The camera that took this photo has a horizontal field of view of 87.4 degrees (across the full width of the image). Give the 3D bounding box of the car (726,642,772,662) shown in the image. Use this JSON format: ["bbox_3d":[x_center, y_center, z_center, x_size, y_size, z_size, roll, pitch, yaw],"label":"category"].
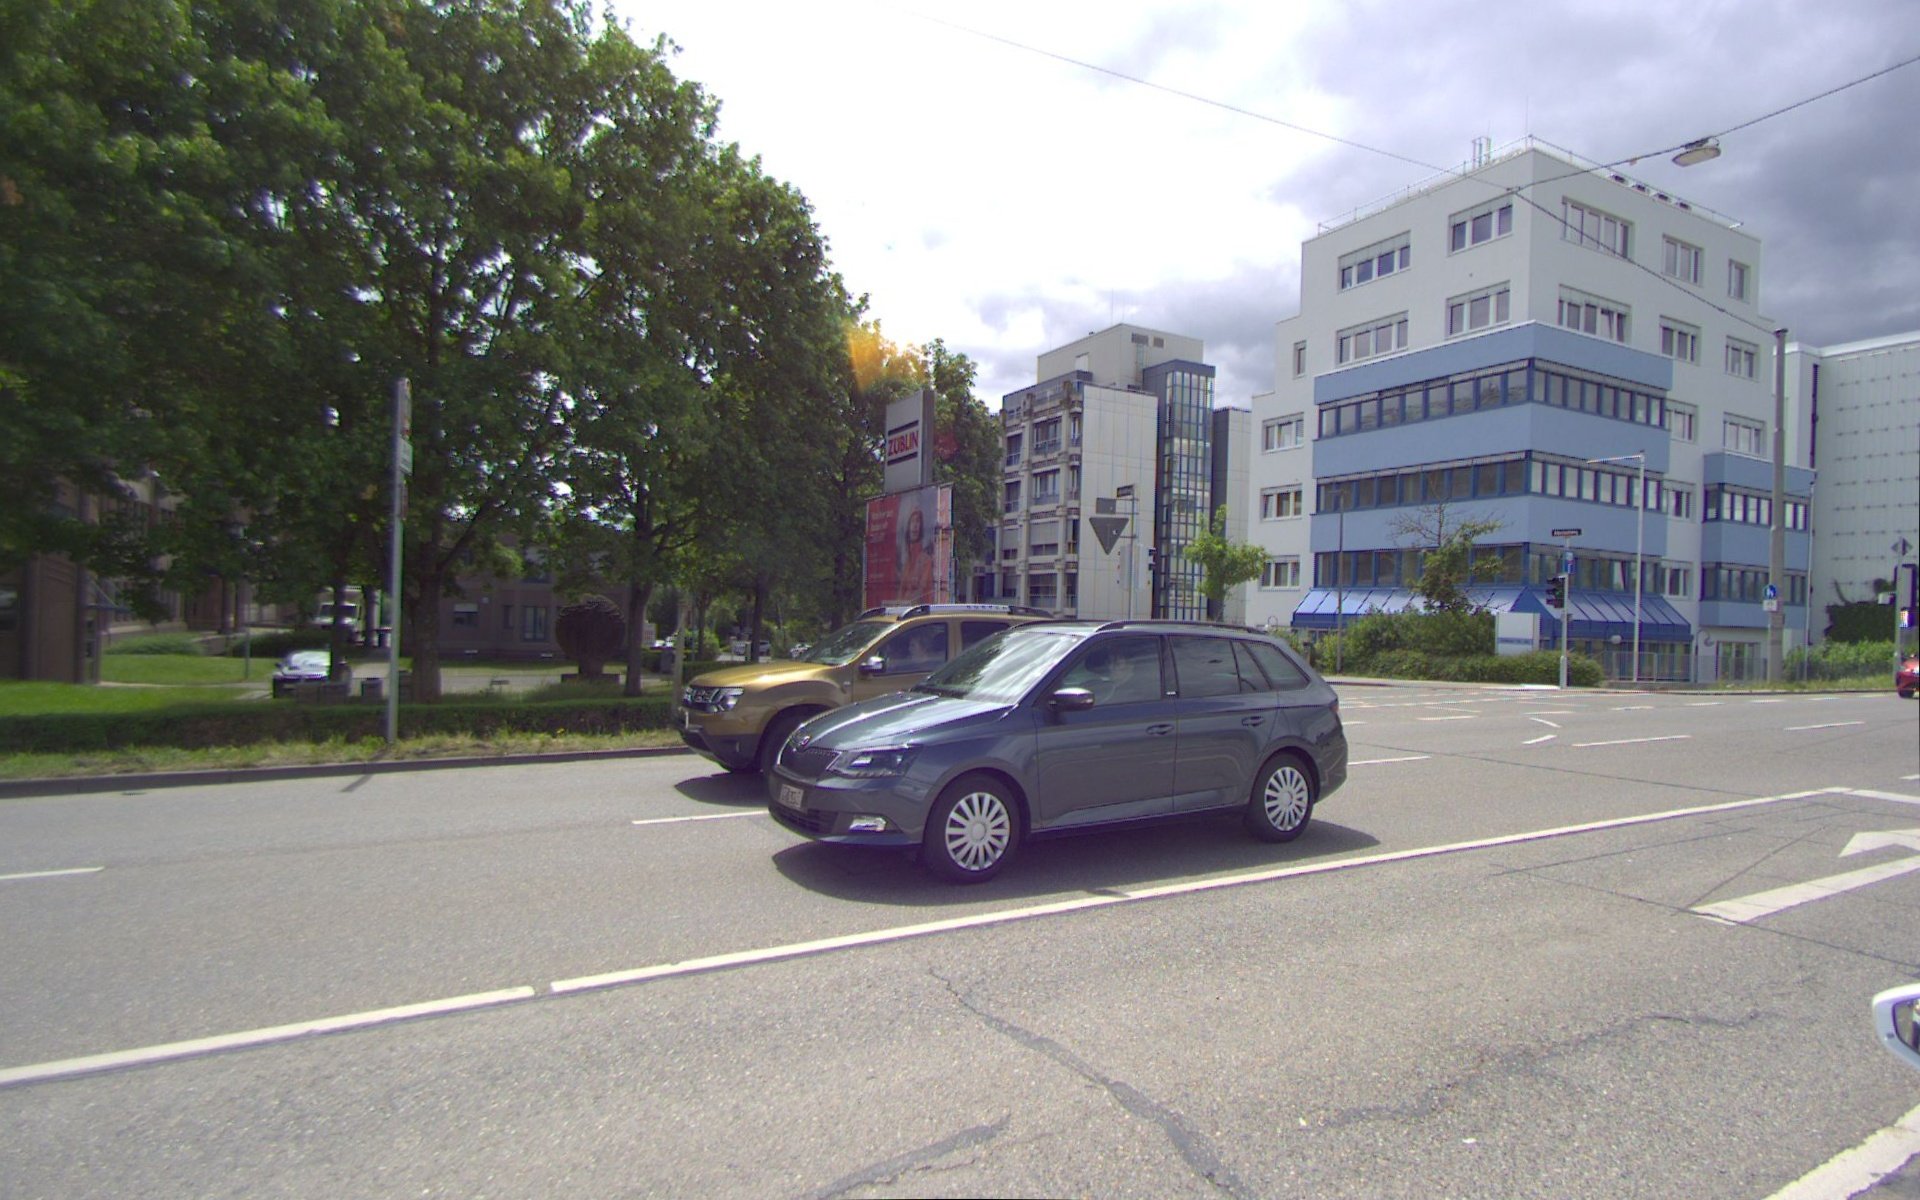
[{"bbox_3d":[-21.031,5.185,100.250,3.961,1.945,1.981,4,-3,-35],"label":"car"}]

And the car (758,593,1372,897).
[{"bbox_3d":[0.795,0.780,6.838,3.961,1.544,1.661,1,-2,-30],"label":"car"}]

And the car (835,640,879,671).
[{"bbox_3d":[-7.427,3.941,72.154,1.868,2.040,3.974,2,-1,-26],"label":"car"}]

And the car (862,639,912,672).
[{"bbox_3d":[-4.906,3.667,67.237,1.974,2.006,3.974,2,-1,-26],"label":"car"}]

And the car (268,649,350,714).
[{"bbox_3d":[-20.083,2.468,31.113,1.765,1.750,3.970,2,-2,-29],"label":"car"}]

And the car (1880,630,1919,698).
[{"bbox_3d":[25.293,1.650,25.466,3.952,1.633,1.768,3,-1,-29],"label":"car"}]

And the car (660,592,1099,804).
[{"bbox_3d":[-0.660,0.857,9.780,3.964,1.652,1.738,3,-3,-38],"label":"car"}]

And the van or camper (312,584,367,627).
[{"bbox_3d":[-33.634,0.304,54.404,2.334,2.132,5.157,3,-1,-33],"label":"van or camper"}]

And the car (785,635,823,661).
[{"bbox_3d":[-12.820,3.947,82.447,1.875,1.919,3.973,2,-1,-26],"label":"car"}]
